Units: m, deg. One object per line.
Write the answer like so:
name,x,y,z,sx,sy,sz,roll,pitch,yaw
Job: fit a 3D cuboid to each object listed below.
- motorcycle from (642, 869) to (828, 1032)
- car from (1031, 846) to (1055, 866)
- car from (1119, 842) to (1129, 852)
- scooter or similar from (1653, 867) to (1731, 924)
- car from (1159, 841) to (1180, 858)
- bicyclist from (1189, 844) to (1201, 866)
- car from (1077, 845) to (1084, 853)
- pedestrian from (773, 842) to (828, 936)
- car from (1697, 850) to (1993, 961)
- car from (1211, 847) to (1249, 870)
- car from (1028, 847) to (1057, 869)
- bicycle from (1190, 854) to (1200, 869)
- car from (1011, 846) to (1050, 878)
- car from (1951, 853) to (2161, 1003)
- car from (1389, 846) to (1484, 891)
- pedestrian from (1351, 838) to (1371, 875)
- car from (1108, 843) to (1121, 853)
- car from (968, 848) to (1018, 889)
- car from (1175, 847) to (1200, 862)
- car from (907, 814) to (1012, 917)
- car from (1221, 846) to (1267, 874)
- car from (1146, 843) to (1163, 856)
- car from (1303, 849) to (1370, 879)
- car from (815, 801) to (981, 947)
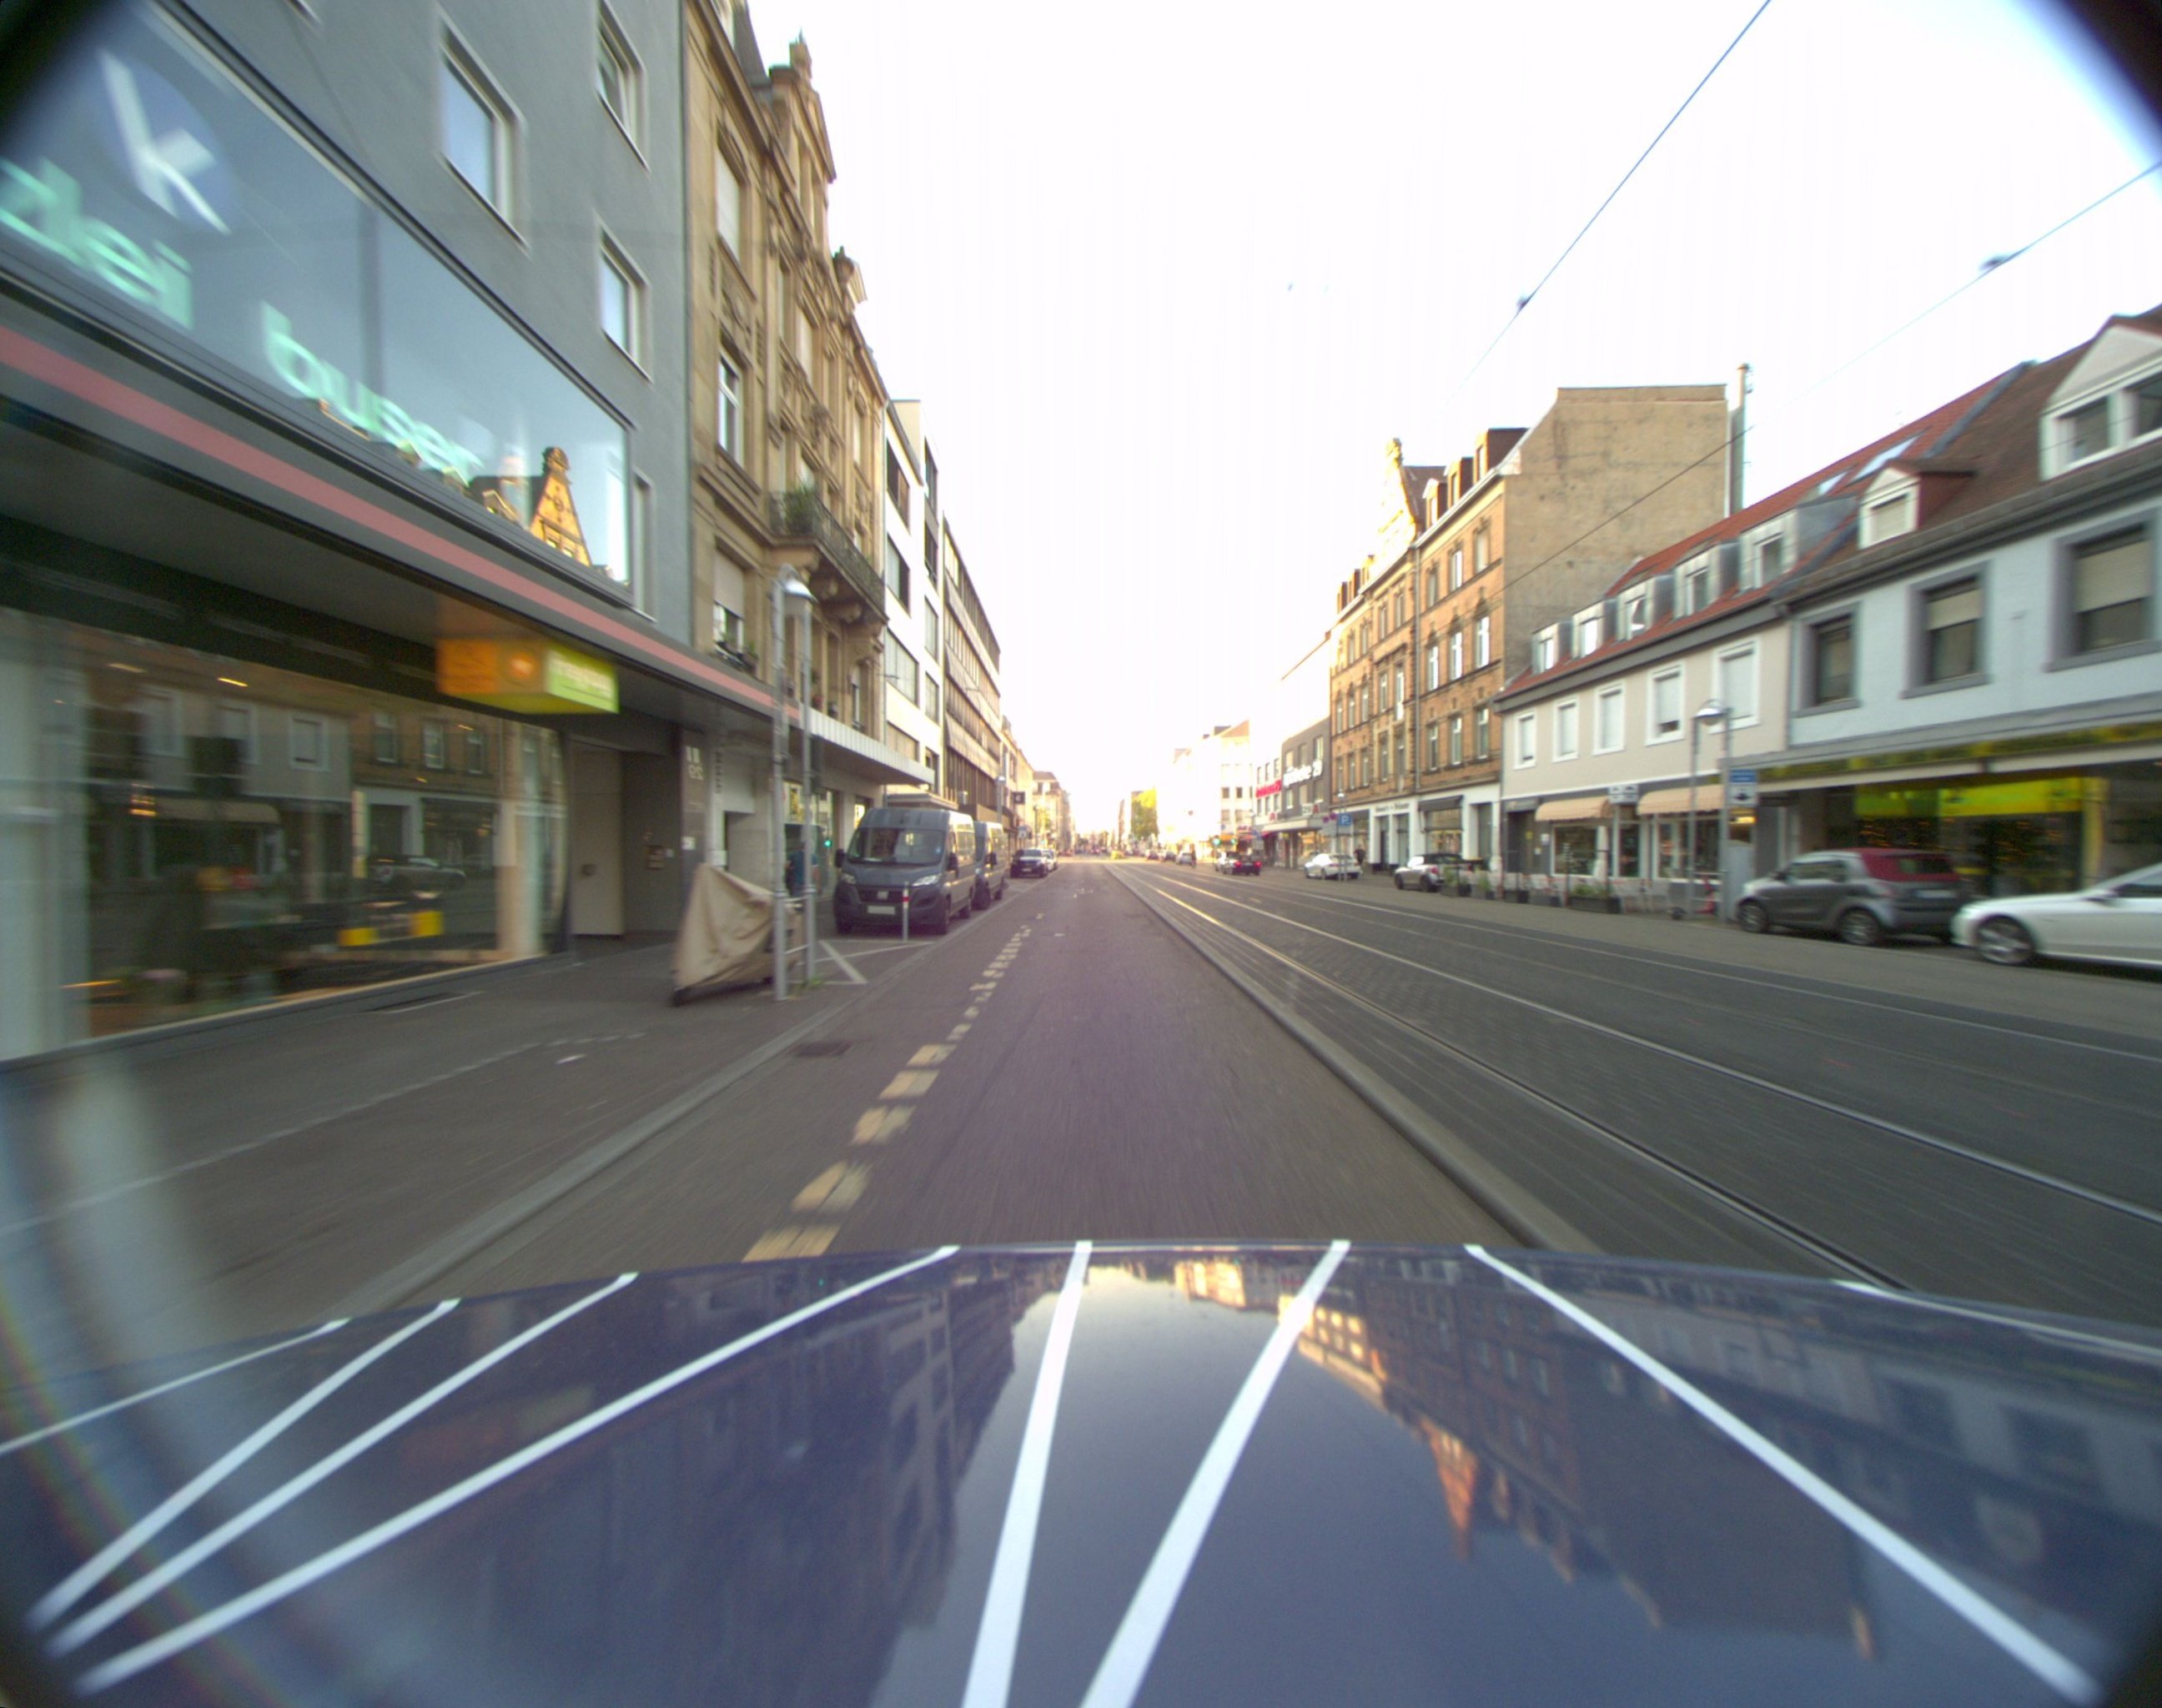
motorcycle,-3.592,0.905,8.233,0.785,1.396,2.637,1,1,0
car,-3.191,0.186,64.464,1.899,1.557,3.534,-3,1,-2
car,9.865,-1.638,173.072,1.999,2.002,3.999,-2,1,0
scooter or similar,13.014,0.885,16.185,1.365,1.161,0.311,-2,2,3
car,10.435,-0.531,90.125,1.999,1.830,3.998,-2,2,0
bicyclist,9.596,0.070,64.116,0.882,1.795,0.900,-2,2,1
car,-0.160,-1.198,173.043,1.572,1.781,3.664,-2,1,-1
pedestrian,-5.384,0.649,14.616,0.743,1.746,0.789,2,1,-3
car,12.922,0.774,13.183,1.660,1.562,3.469,-2,1,1
car,11.007,0.295,56.454,1.999,1.544,3.999,-2,1,0
car,-2.868,0.309,57.551,1.999,1.538,3.876,-2,1,-1
bicycle,9.619,0.606,64.142,0.493,1.183,2.265,-2,1,0
car,-2.918,0.443,44.529,1.999,1.663,3.875,-2,1,0
car,12.890,0.847,8.137,1.896,1.547,4.622,-2,1,1
car,13.362,0.494,28.811,1.846,1.484,3.815,-2,1,1
pedestrian,15.727,0.124,42.654,0.748,2.002,1.049,-2,2,5
car,6.092,-1.121,138.699,1.999,1.781,3.681,-2,1,-3
car,-3.683,0.558,32.303,1.639,1.642,3.845,0,1,1
car,10.850,0.032,77.724,1.999,1.434,3.999,-2,1,0
car,-3.350,0.243,22.154,1.998,2.559,5.603,-2,1,1
car,10.173,0.336,47.808,1.999,1.554,3.999,-2,1,0
car,10.351,-0.640,106.885,1.999,1.685,3.999,-2,1,0
car,13.640,0.485,40.832,1.999,1.412,4.402,-2,1,-2
car,-3.517,0.302,15.883,2.080,2.434,5.603,-2,1,-1
